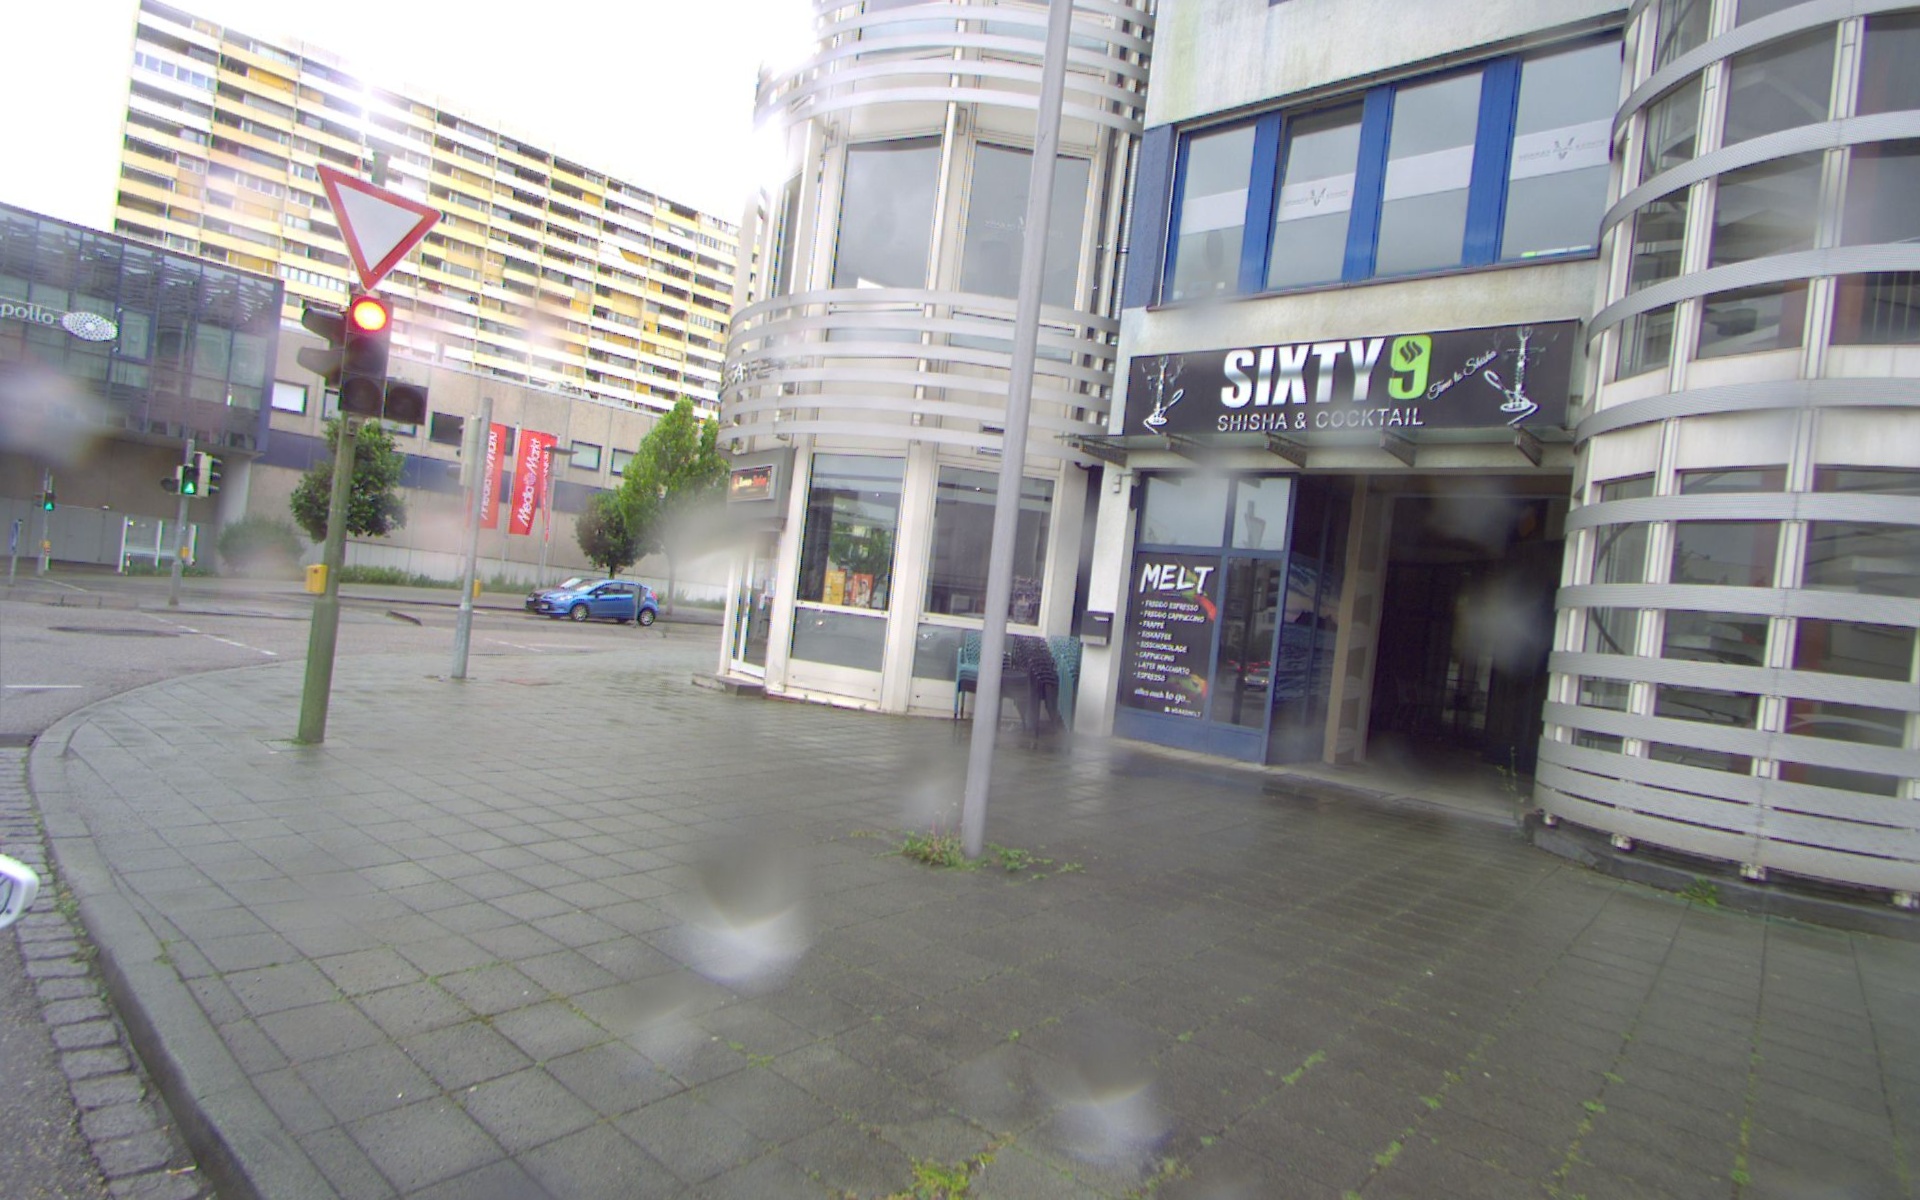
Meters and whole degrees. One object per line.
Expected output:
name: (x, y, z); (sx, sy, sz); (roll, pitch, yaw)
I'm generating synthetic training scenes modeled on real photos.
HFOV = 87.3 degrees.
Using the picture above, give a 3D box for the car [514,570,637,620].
car: (-13.744, -0.159, 36.074); (1.720, 1.412, 3.677); (5, 0, 41)

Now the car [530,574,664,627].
car: (-12.021, 0.029, 33.468); (1.655, 1.415, 3.837); (5, 0, 40)
